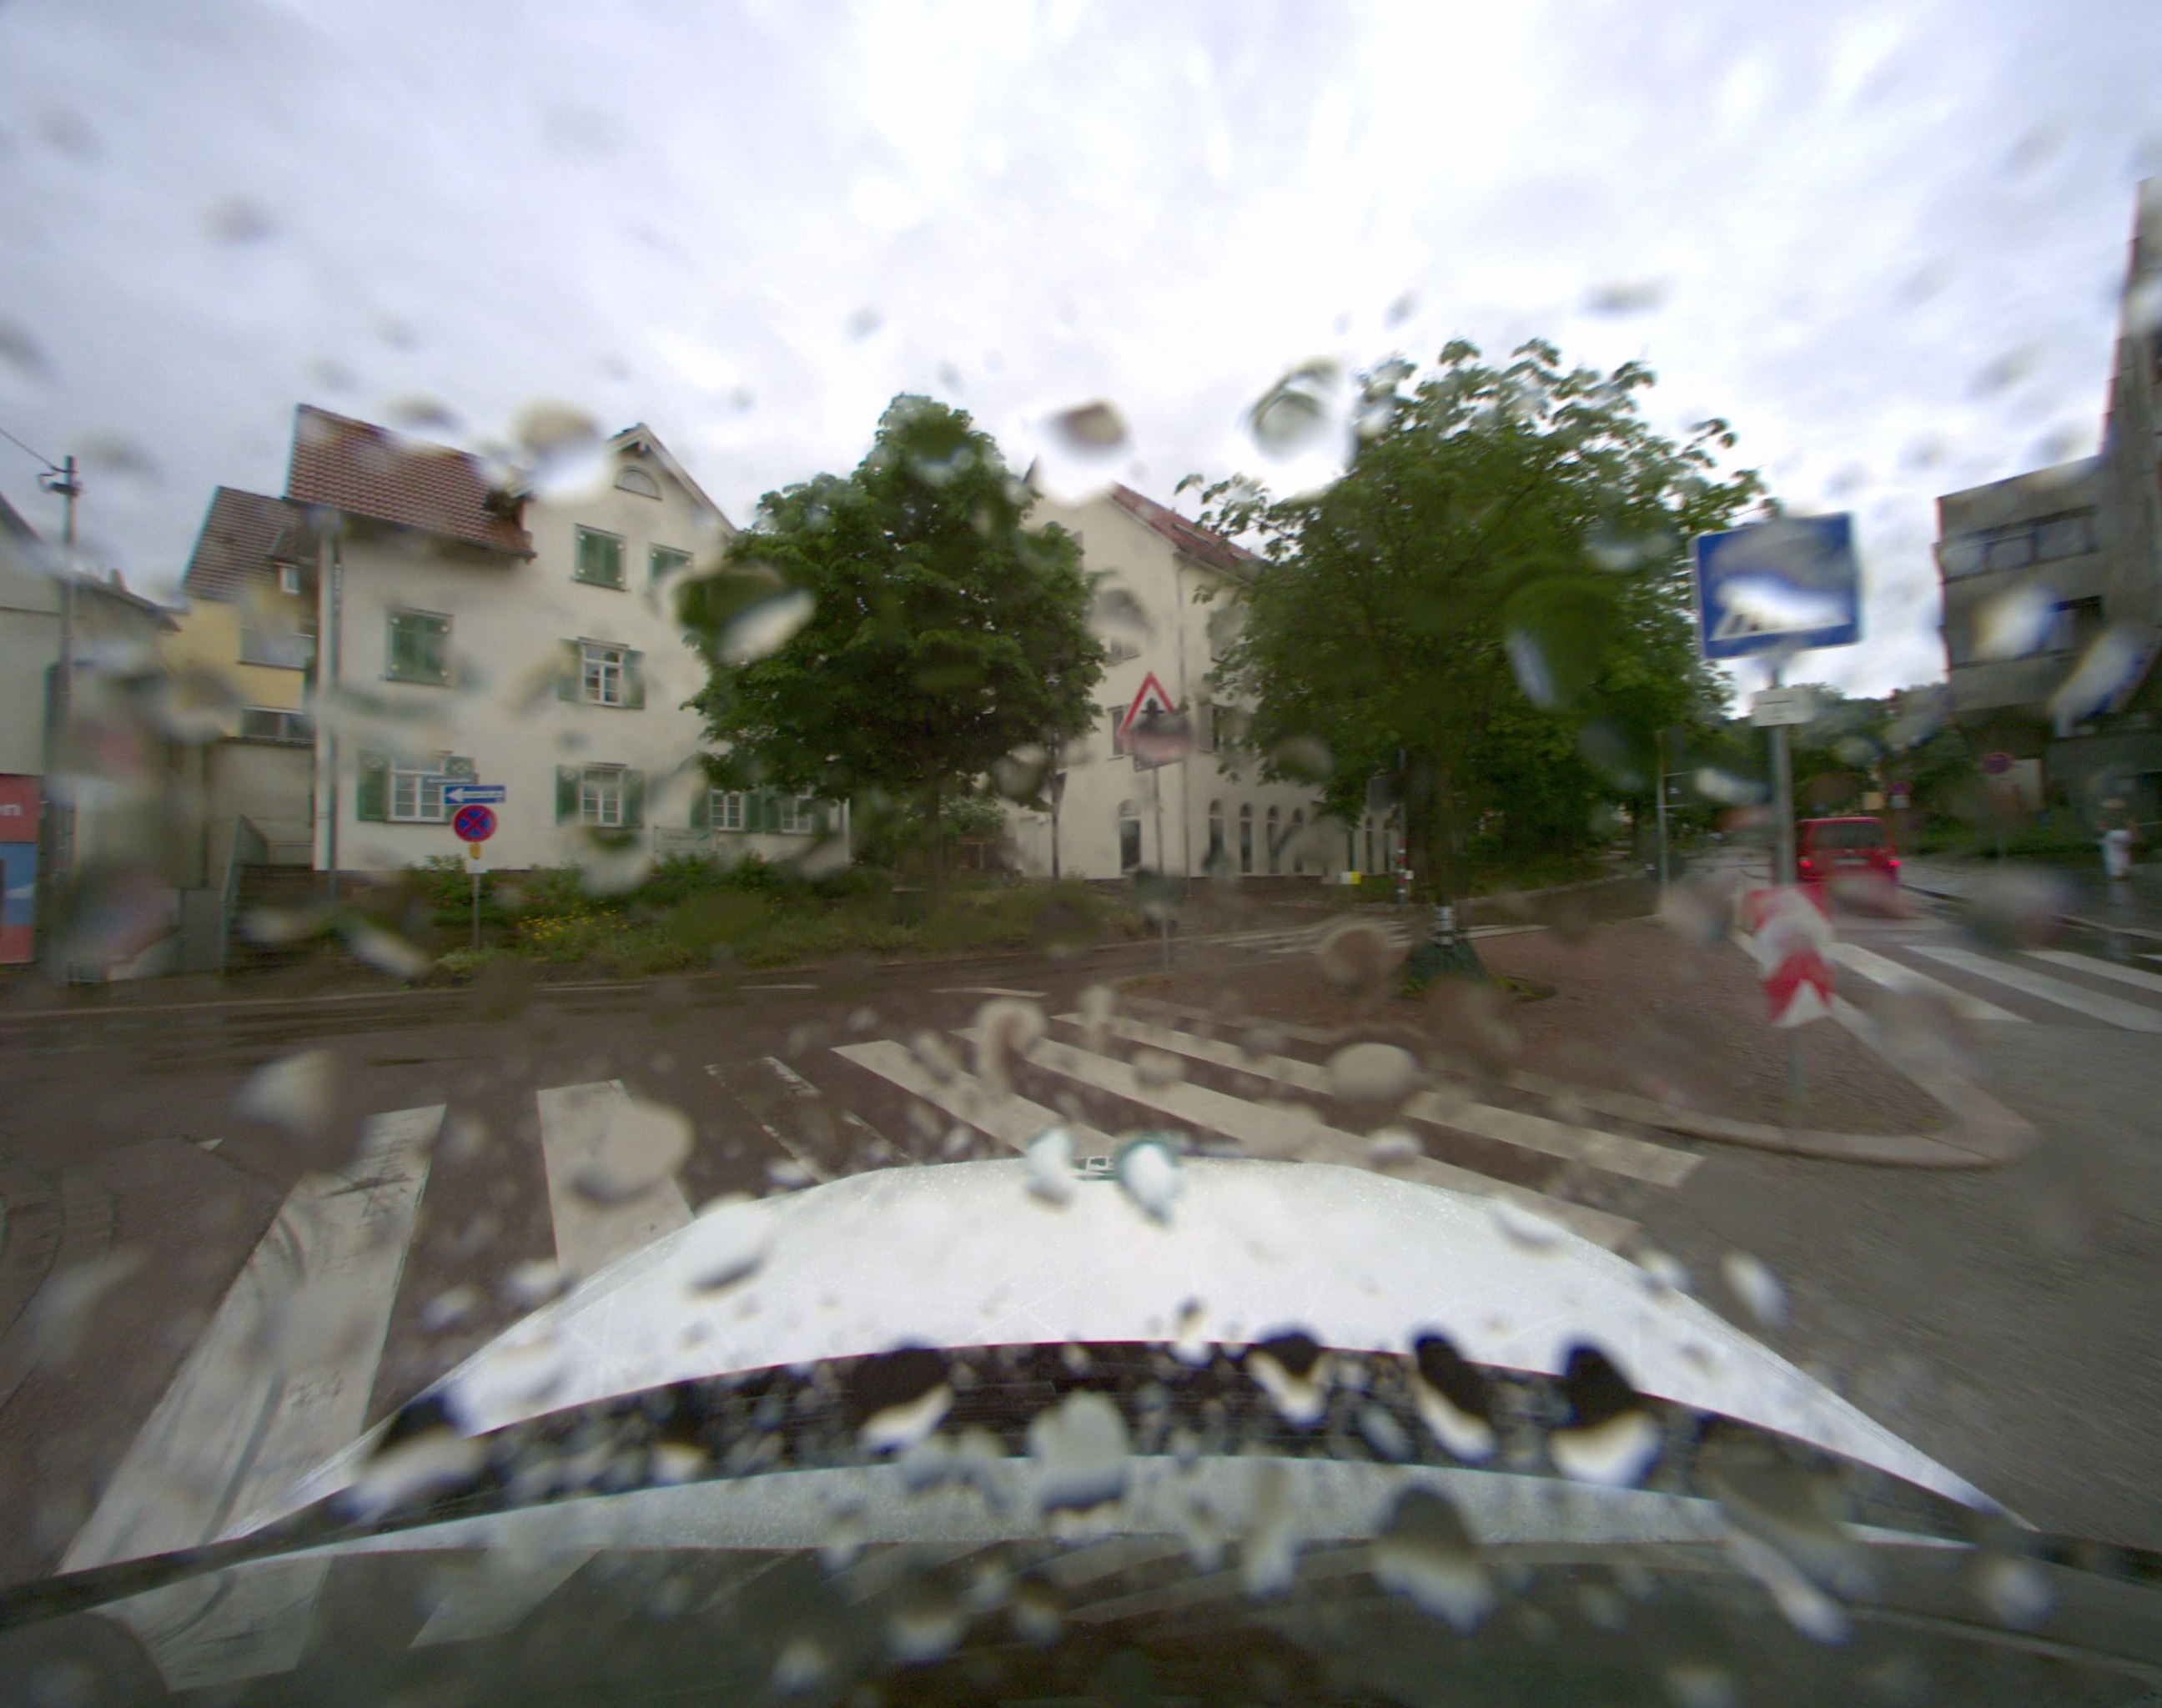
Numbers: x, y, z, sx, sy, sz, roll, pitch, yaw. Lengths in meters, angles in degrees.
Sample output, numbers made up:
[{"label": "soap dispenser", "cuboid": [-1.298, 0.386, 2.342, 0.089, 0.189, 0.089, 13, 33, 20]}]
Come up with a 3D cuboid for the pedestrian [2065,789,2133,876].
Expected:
[{"label": "pedestrian", "cuboid": [22.294, -0.459, 17.846, 0.819, 1.830, 0.827, -1, -2, -38]}]

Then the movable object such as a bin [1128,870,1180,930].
[{"label": "movable object such as a bin", "cuboid": [1.438, 0.896, 16.055, 0.653, 1.124, 0.731, -1, -2, -42]}]

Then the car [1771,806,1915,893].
[{"label": "car", "cuboid": [18.096, -0.085, 19.558, 1.844, 1.830, 4.212, -3, -1, 34]}]
